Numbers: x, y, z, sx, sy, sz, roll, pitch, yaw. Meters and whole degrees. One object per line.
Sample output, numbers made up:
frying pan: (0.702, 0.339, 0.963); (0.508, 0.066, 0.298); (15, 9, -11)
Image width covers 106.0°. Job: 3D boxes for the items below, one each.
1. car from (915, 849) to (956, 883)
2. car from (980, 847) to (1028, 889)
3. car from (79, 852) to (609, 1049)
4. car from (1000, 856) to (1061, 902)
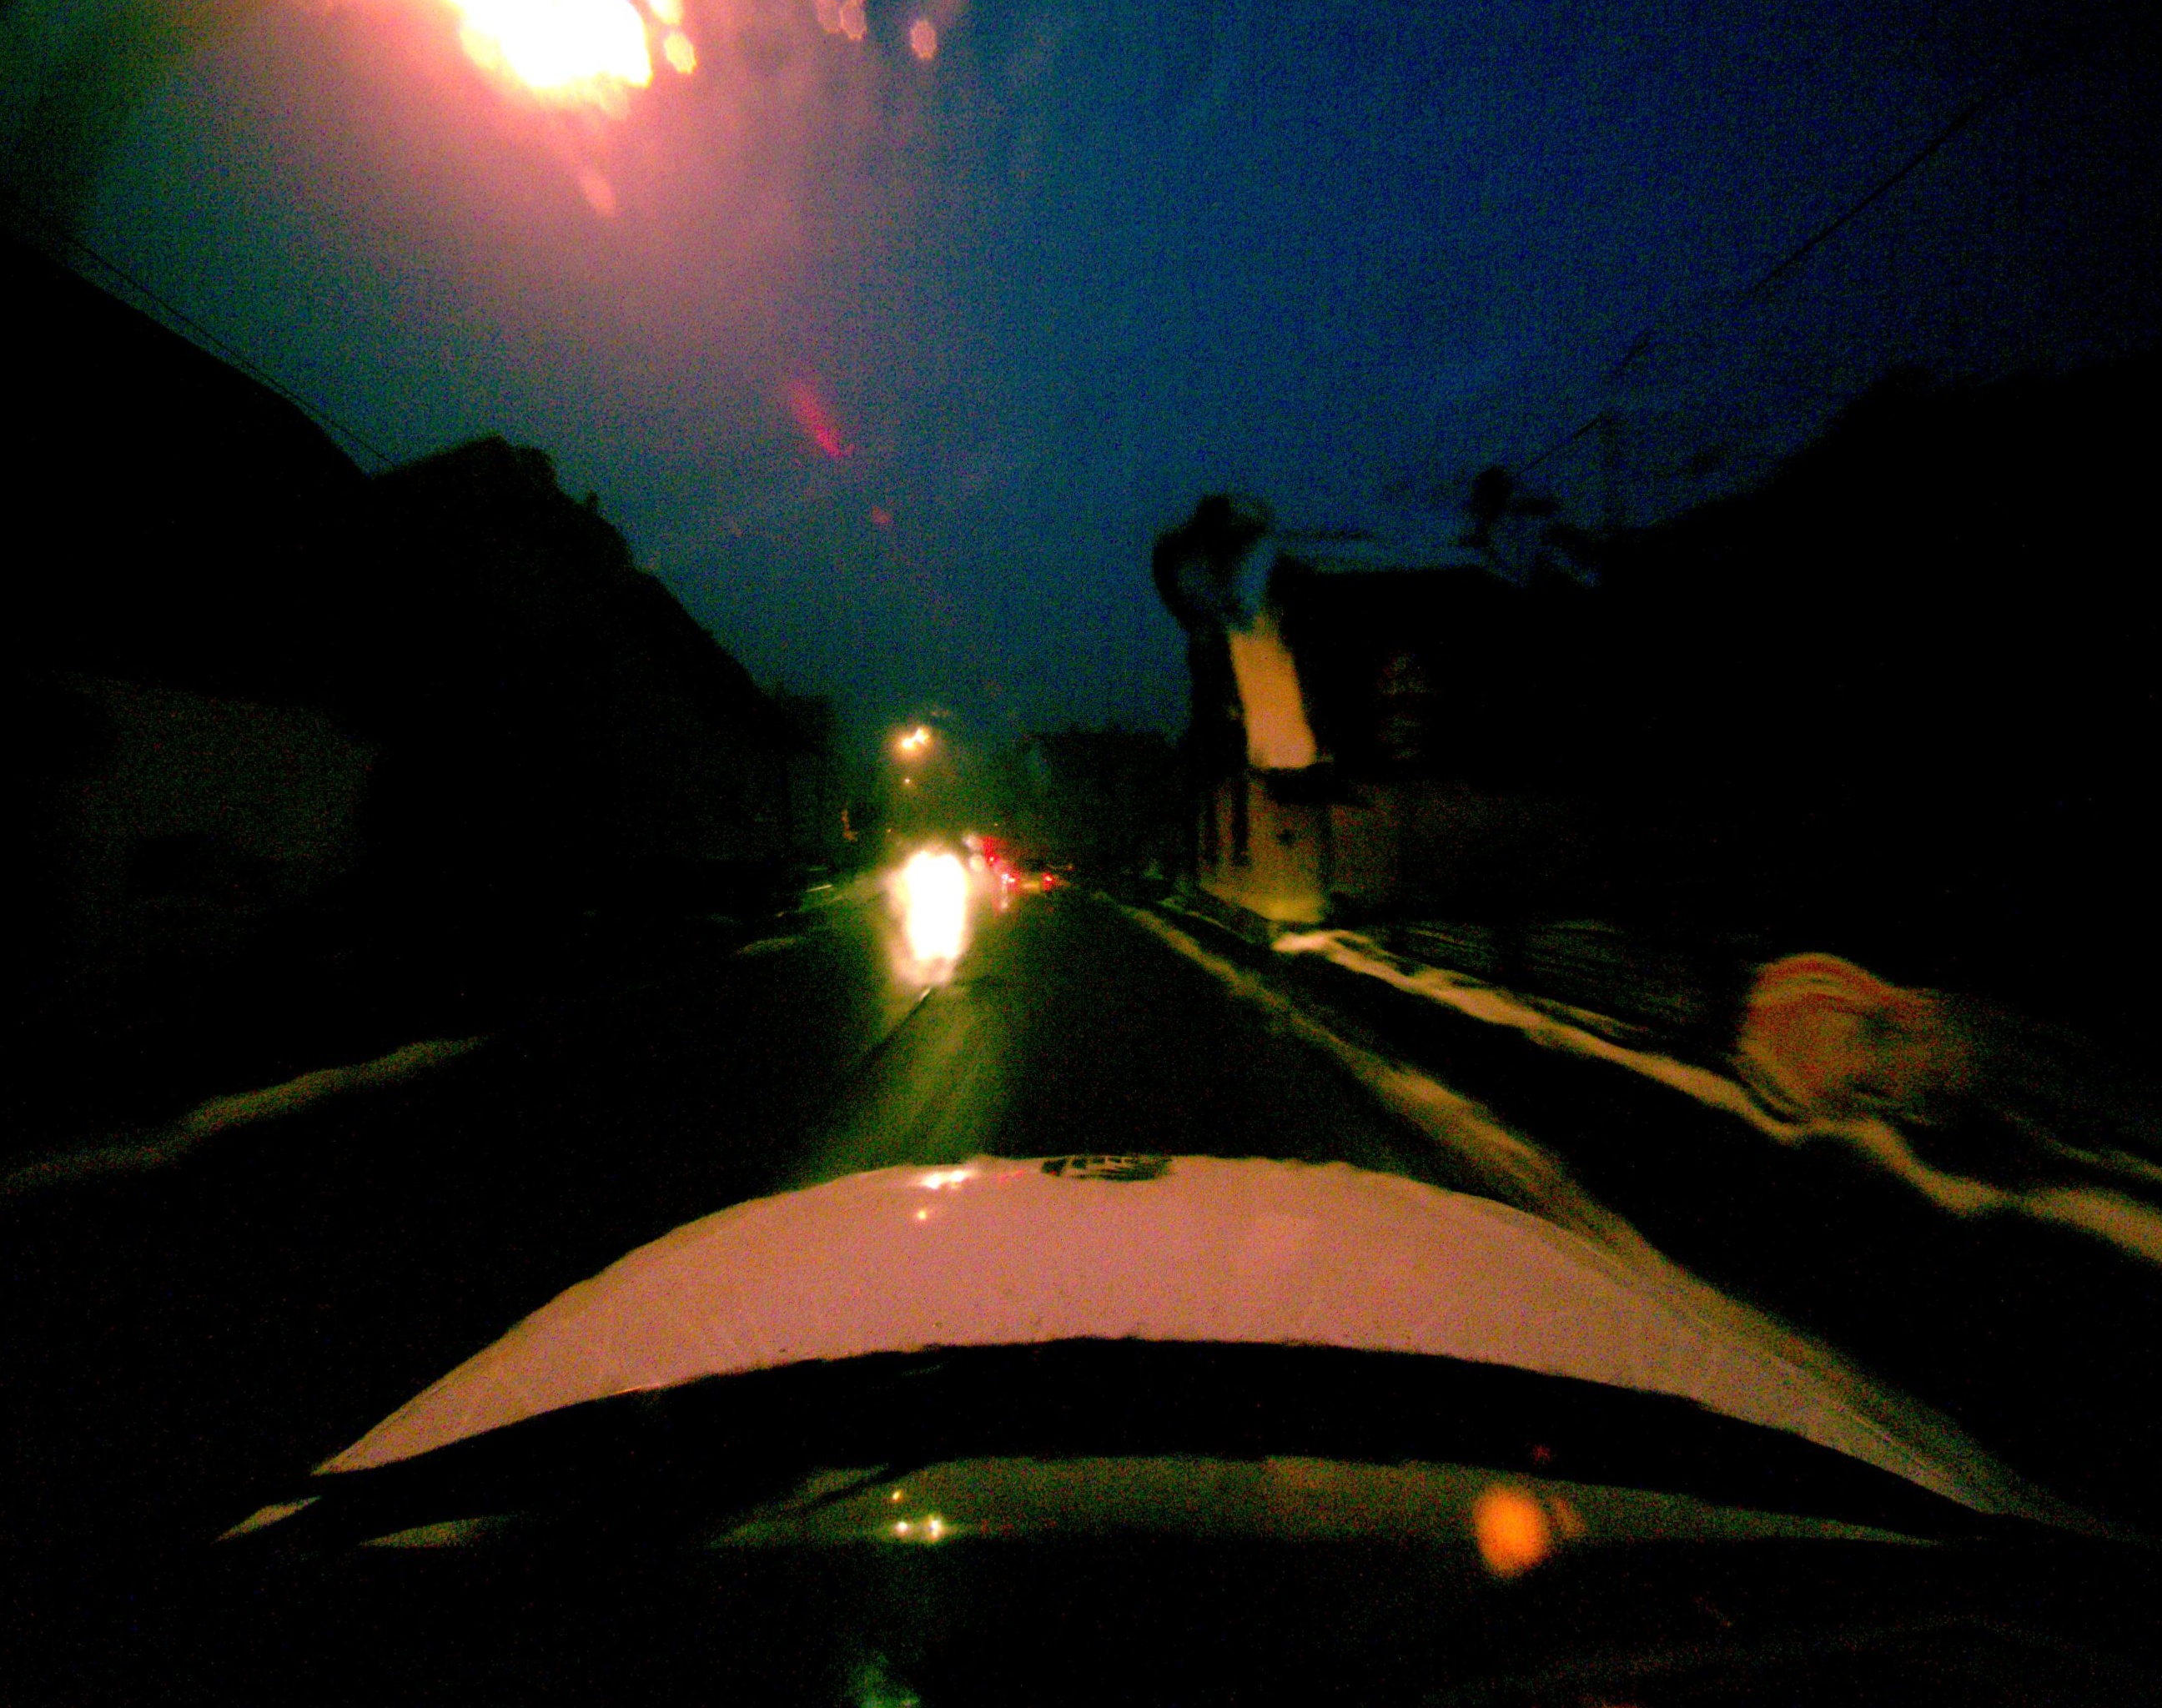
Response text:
car: (-7.910, 0.668, 44.468); (1.839, 1.687, 4.467); (-2, -1, -6)
car: (-3.868, 0.744, 41.524); (1.987, 2.014, 3.999); (1, -2, 0)
car: (-7.150, 0.782, 8.677); (1.990, 1.522, 4.185); (1, 1, -4)
car: (-1.867, 0.890, 28.967); (1.991, 1.508, 3.990); (1, -2, -6)
